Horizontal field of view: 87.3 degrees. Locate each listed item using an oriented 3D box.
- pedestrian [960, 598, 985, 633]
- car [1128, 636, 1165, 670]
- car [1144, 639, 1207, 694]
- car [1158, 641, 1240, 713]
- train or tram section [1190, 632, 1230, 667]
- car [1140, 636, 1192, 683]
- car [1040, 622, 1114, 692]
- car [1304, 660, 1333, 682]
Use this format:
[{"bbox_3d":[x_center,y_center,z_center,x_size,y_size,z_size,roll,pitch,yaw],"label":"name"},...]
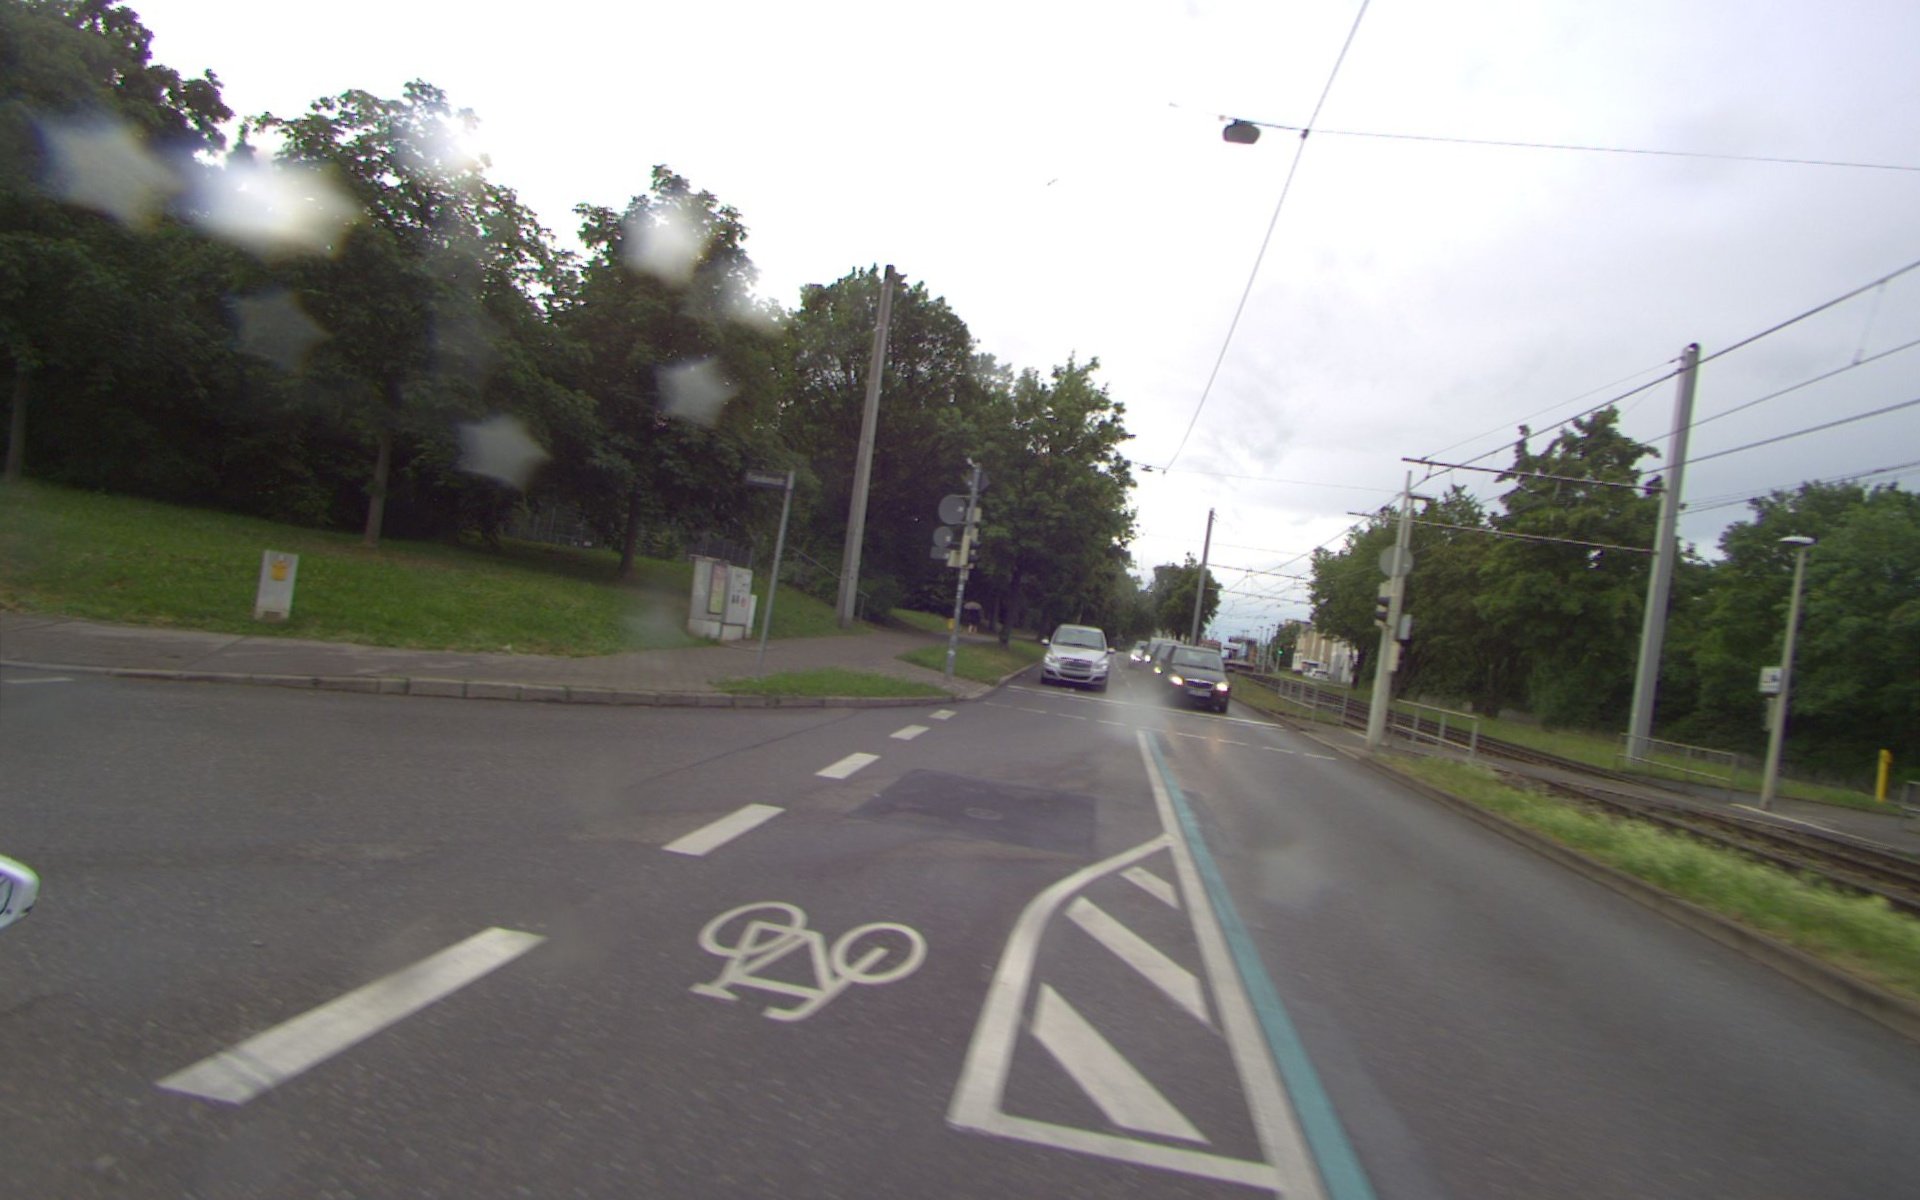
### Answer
[{"bbox_3d":[0.645,0.784,50.864,0.997,1.620,1.040,9,0,4],"label":"pedestrian"},{"bbox_3d":[9.289,2.620,50.331,1.576,1.419,3.793,8,0,9],"label":"car"},{"bbox_3d":[6.808,2.065,32.051,1.576,1.419,3.793,7,0,9],"label":"car"},{"bbox_3d":[5.933,1.875,25.337,1.575,1.419,3.793,7,0,9],"label":"car"},{"bbox_3d":[35.642,6.972,143.888,3.997,3.940,15.046,10,0,10],"label":"train or tram section"},{"bbox_3d":[7.912,2.268,38.887,1.576,1.418,3.793,10,0,9],"label":"car"},{"bbox_3d":[3.215,1.475,27.380,1.692,1.573,3.864,6,0,8],"label":"car"},{"bbox_3d":[32.501,6.426,91.227,1.677,1.540,3.793,10,0,10],"label":"car"}]
